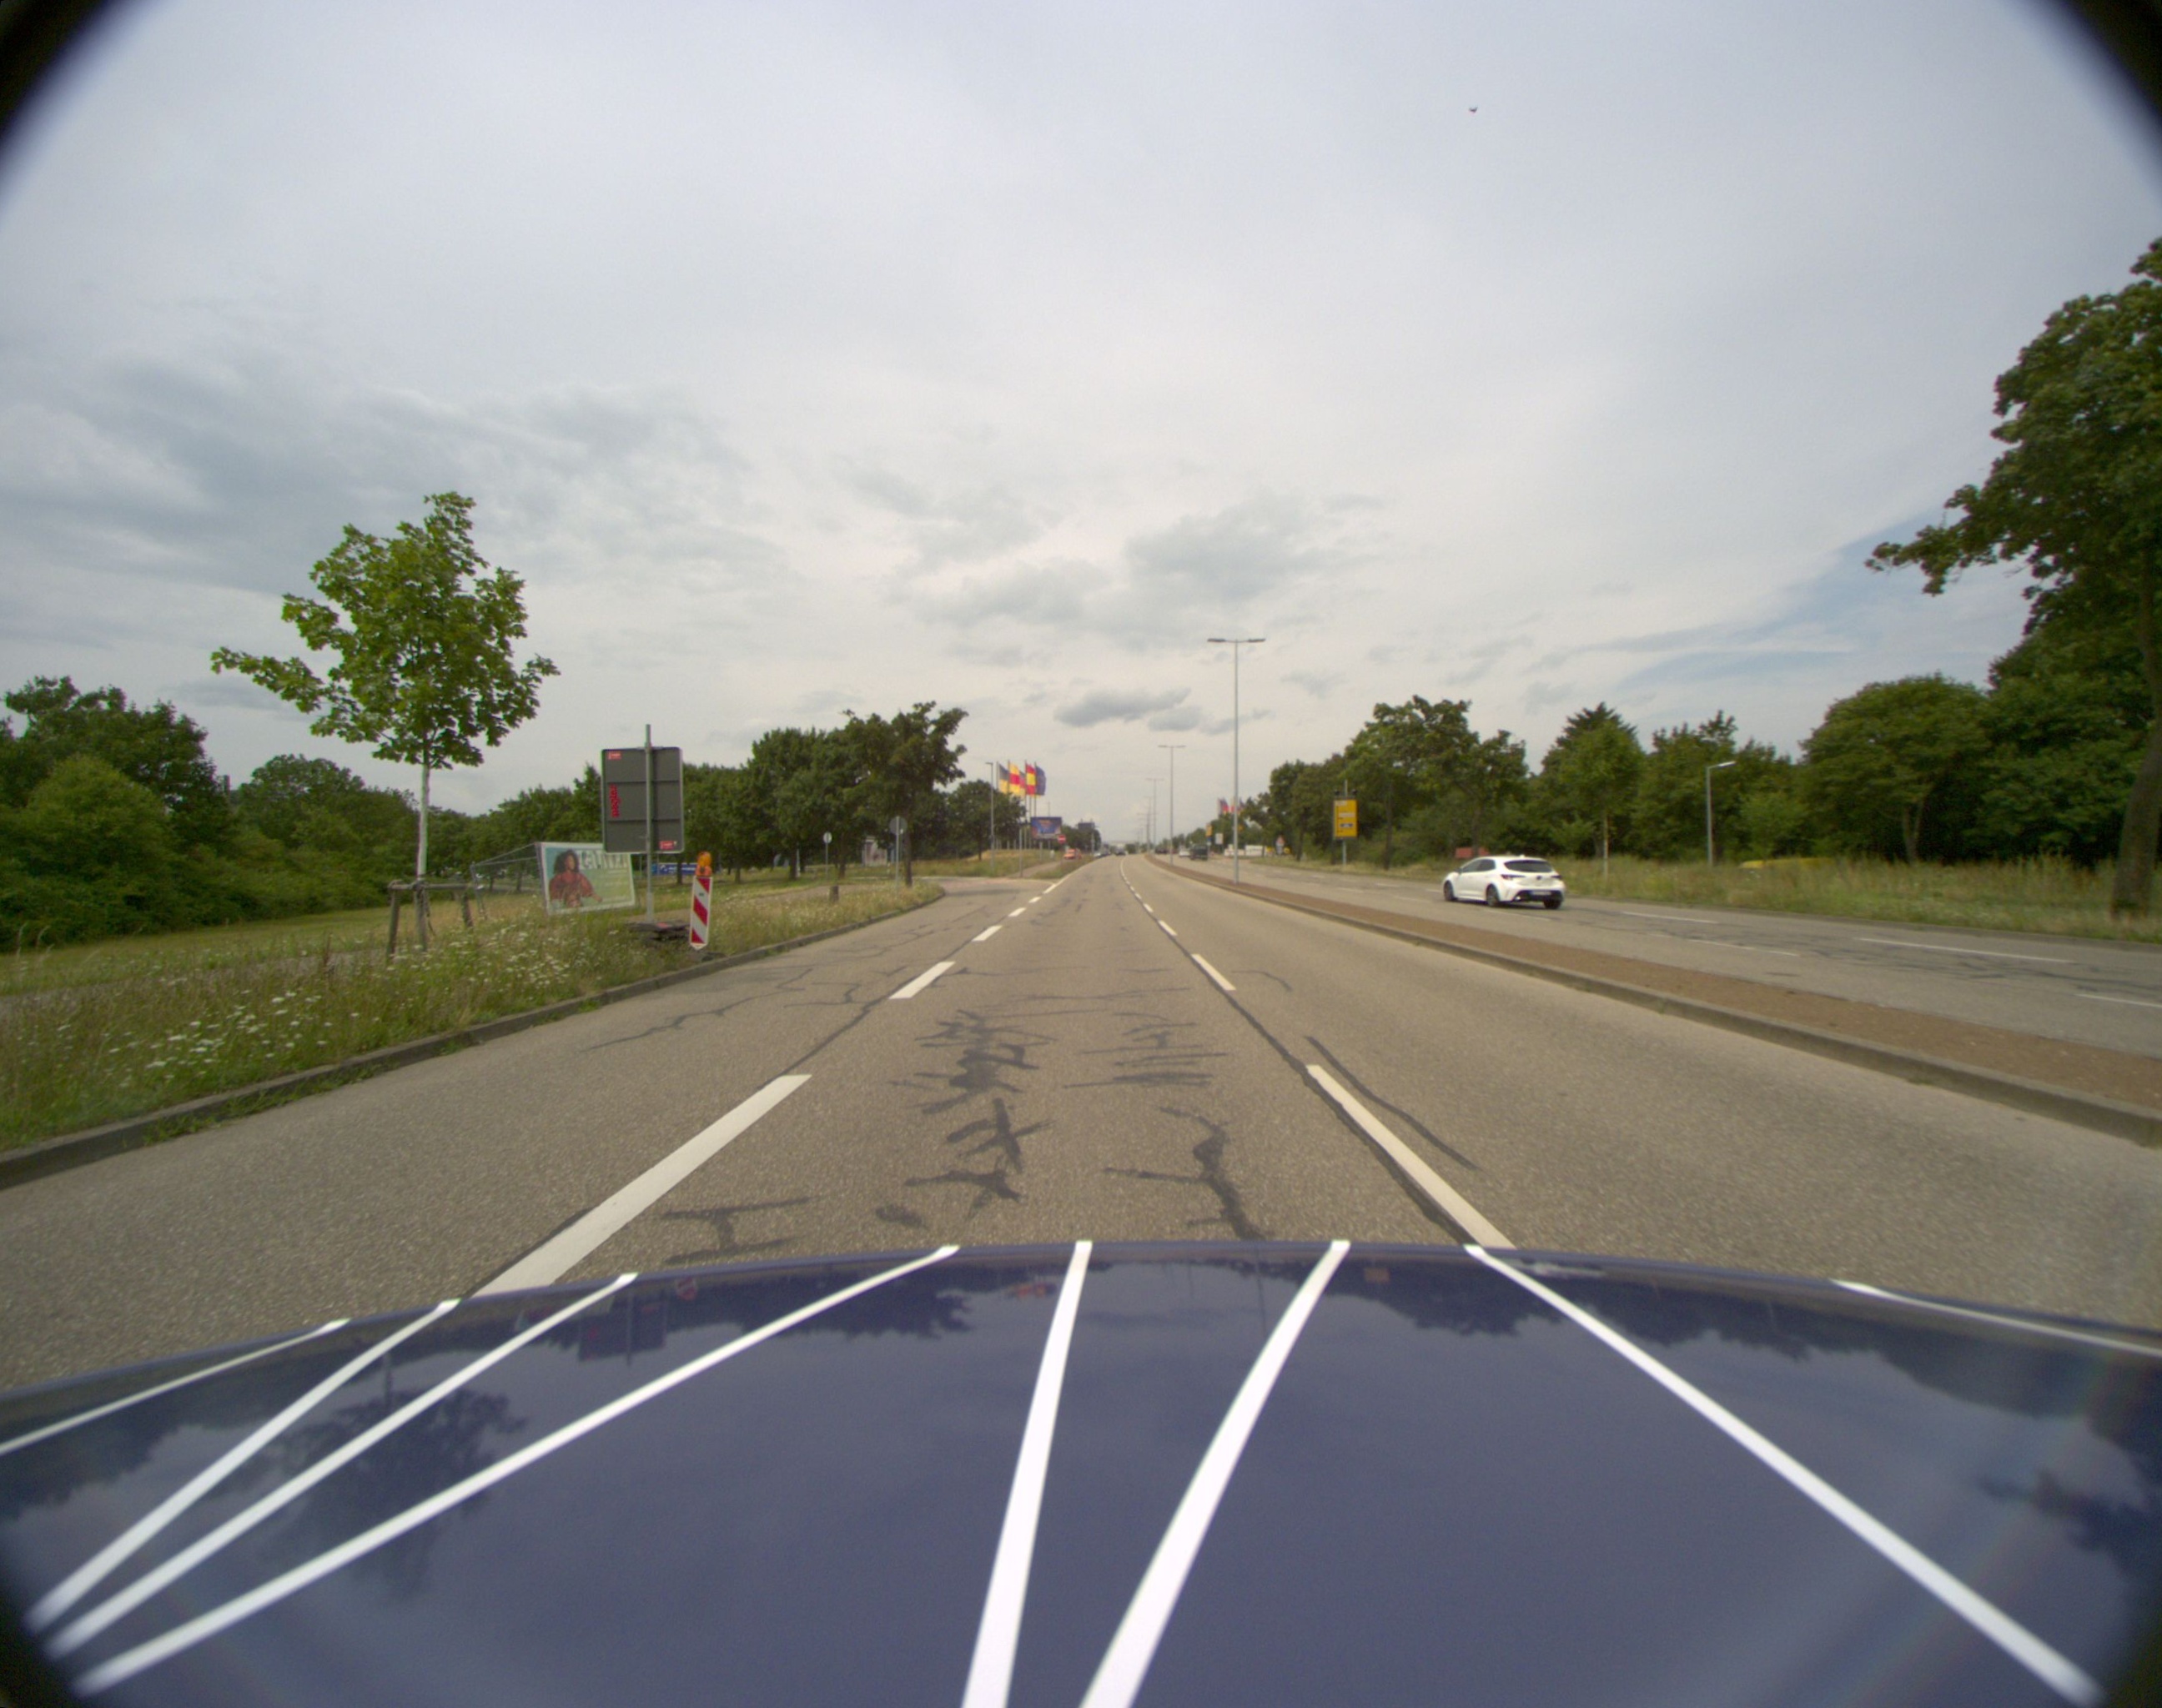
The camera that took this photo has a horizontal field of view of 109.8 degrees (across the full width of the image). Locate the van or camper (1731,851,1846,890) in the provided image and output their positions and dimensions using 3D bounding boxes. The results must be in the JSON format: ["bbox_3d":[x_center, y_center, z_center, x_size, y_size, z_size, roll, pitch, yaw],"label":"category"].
[{"bbox_3d":[40.405,0.955,43.501,4.361,2.002,2.001,-2,1,11],"label":"van or camper"}]

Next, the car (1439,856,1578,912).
[{"bbox_3d":[12.076,0.802,21.822,1.721,1.411,4.160,1,-1,2],"label":"car"}]

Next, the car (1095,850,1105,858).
[{"bbox_3d":[3.477,0.057,139.561,1.695,1.403,3.684,-2,-1,1],"label":"car"}]

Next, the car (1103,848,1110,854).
[{"bbox_3d":[5.986,-0.754,176.398,1.558,1.229,3.470,-2,-1,3],"label":"car"}]

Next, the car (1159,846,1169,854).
[{"bbox_3d":[19.314,-0.948,176.412,1.998,1.800,4.798,0,-1,2],"label":"car"}]

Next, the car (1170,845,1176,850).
[{"bbox_3d":[28.817,-2.027,238.581,1.758,1.314,4.348,-1,-1,5],"label":"car"}]

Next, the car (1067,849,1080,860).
[{"bbox_3d":[-1.185,0.125,127.372,1.892,1.824,4.432,-2,-1,3],"label":"car"}]

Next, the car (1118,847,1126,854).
[{"bbox_3d":[8.508,-0.687,158.164,1.558,1.229,3.470,-2,-1,3],"label":"car"}]

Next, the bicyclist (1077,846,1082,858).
[{"bbox_3d":[-0.235,-0.242,105.394,0.623,1.656,0.669,2,0,2],"label":"bicyclist"}]

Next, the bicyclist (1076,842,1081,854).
[{"bbox_3d":[-0.407,-0.894,111.031,0.705,1.745,0.991,0,0,2],"label":"bicyclist"}]

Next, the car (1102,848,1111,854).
[{"bbox_3d":[5.186,-0.566,154.174,1.558,1.229,3.470,-2,-1,3],"label":"car"}]

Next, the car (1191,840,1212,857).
[{"bbox_3d":[16.515,-0.746,104.313,2.100,2.188,6.004,0,0,1],"label":"car"}]

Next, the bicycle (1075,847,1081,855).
[{"bbox_3d":[-0.412,-0.411,110.977,0.695,1.185,2.461,0,0,2],"label":"bicycle"}]

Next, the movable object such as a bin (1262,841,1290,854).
[{"bbox_3d":[36.226,-1.152,141.026,4.592,2.383,1.999,-1,0,-7],"label":"movable object such as a bin"}]

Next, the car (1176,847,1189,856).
[{"bbox_3d":[17.549,-0.389,131.588,1.998,1.422,4.689,0,0,3],"label":"car"}]
